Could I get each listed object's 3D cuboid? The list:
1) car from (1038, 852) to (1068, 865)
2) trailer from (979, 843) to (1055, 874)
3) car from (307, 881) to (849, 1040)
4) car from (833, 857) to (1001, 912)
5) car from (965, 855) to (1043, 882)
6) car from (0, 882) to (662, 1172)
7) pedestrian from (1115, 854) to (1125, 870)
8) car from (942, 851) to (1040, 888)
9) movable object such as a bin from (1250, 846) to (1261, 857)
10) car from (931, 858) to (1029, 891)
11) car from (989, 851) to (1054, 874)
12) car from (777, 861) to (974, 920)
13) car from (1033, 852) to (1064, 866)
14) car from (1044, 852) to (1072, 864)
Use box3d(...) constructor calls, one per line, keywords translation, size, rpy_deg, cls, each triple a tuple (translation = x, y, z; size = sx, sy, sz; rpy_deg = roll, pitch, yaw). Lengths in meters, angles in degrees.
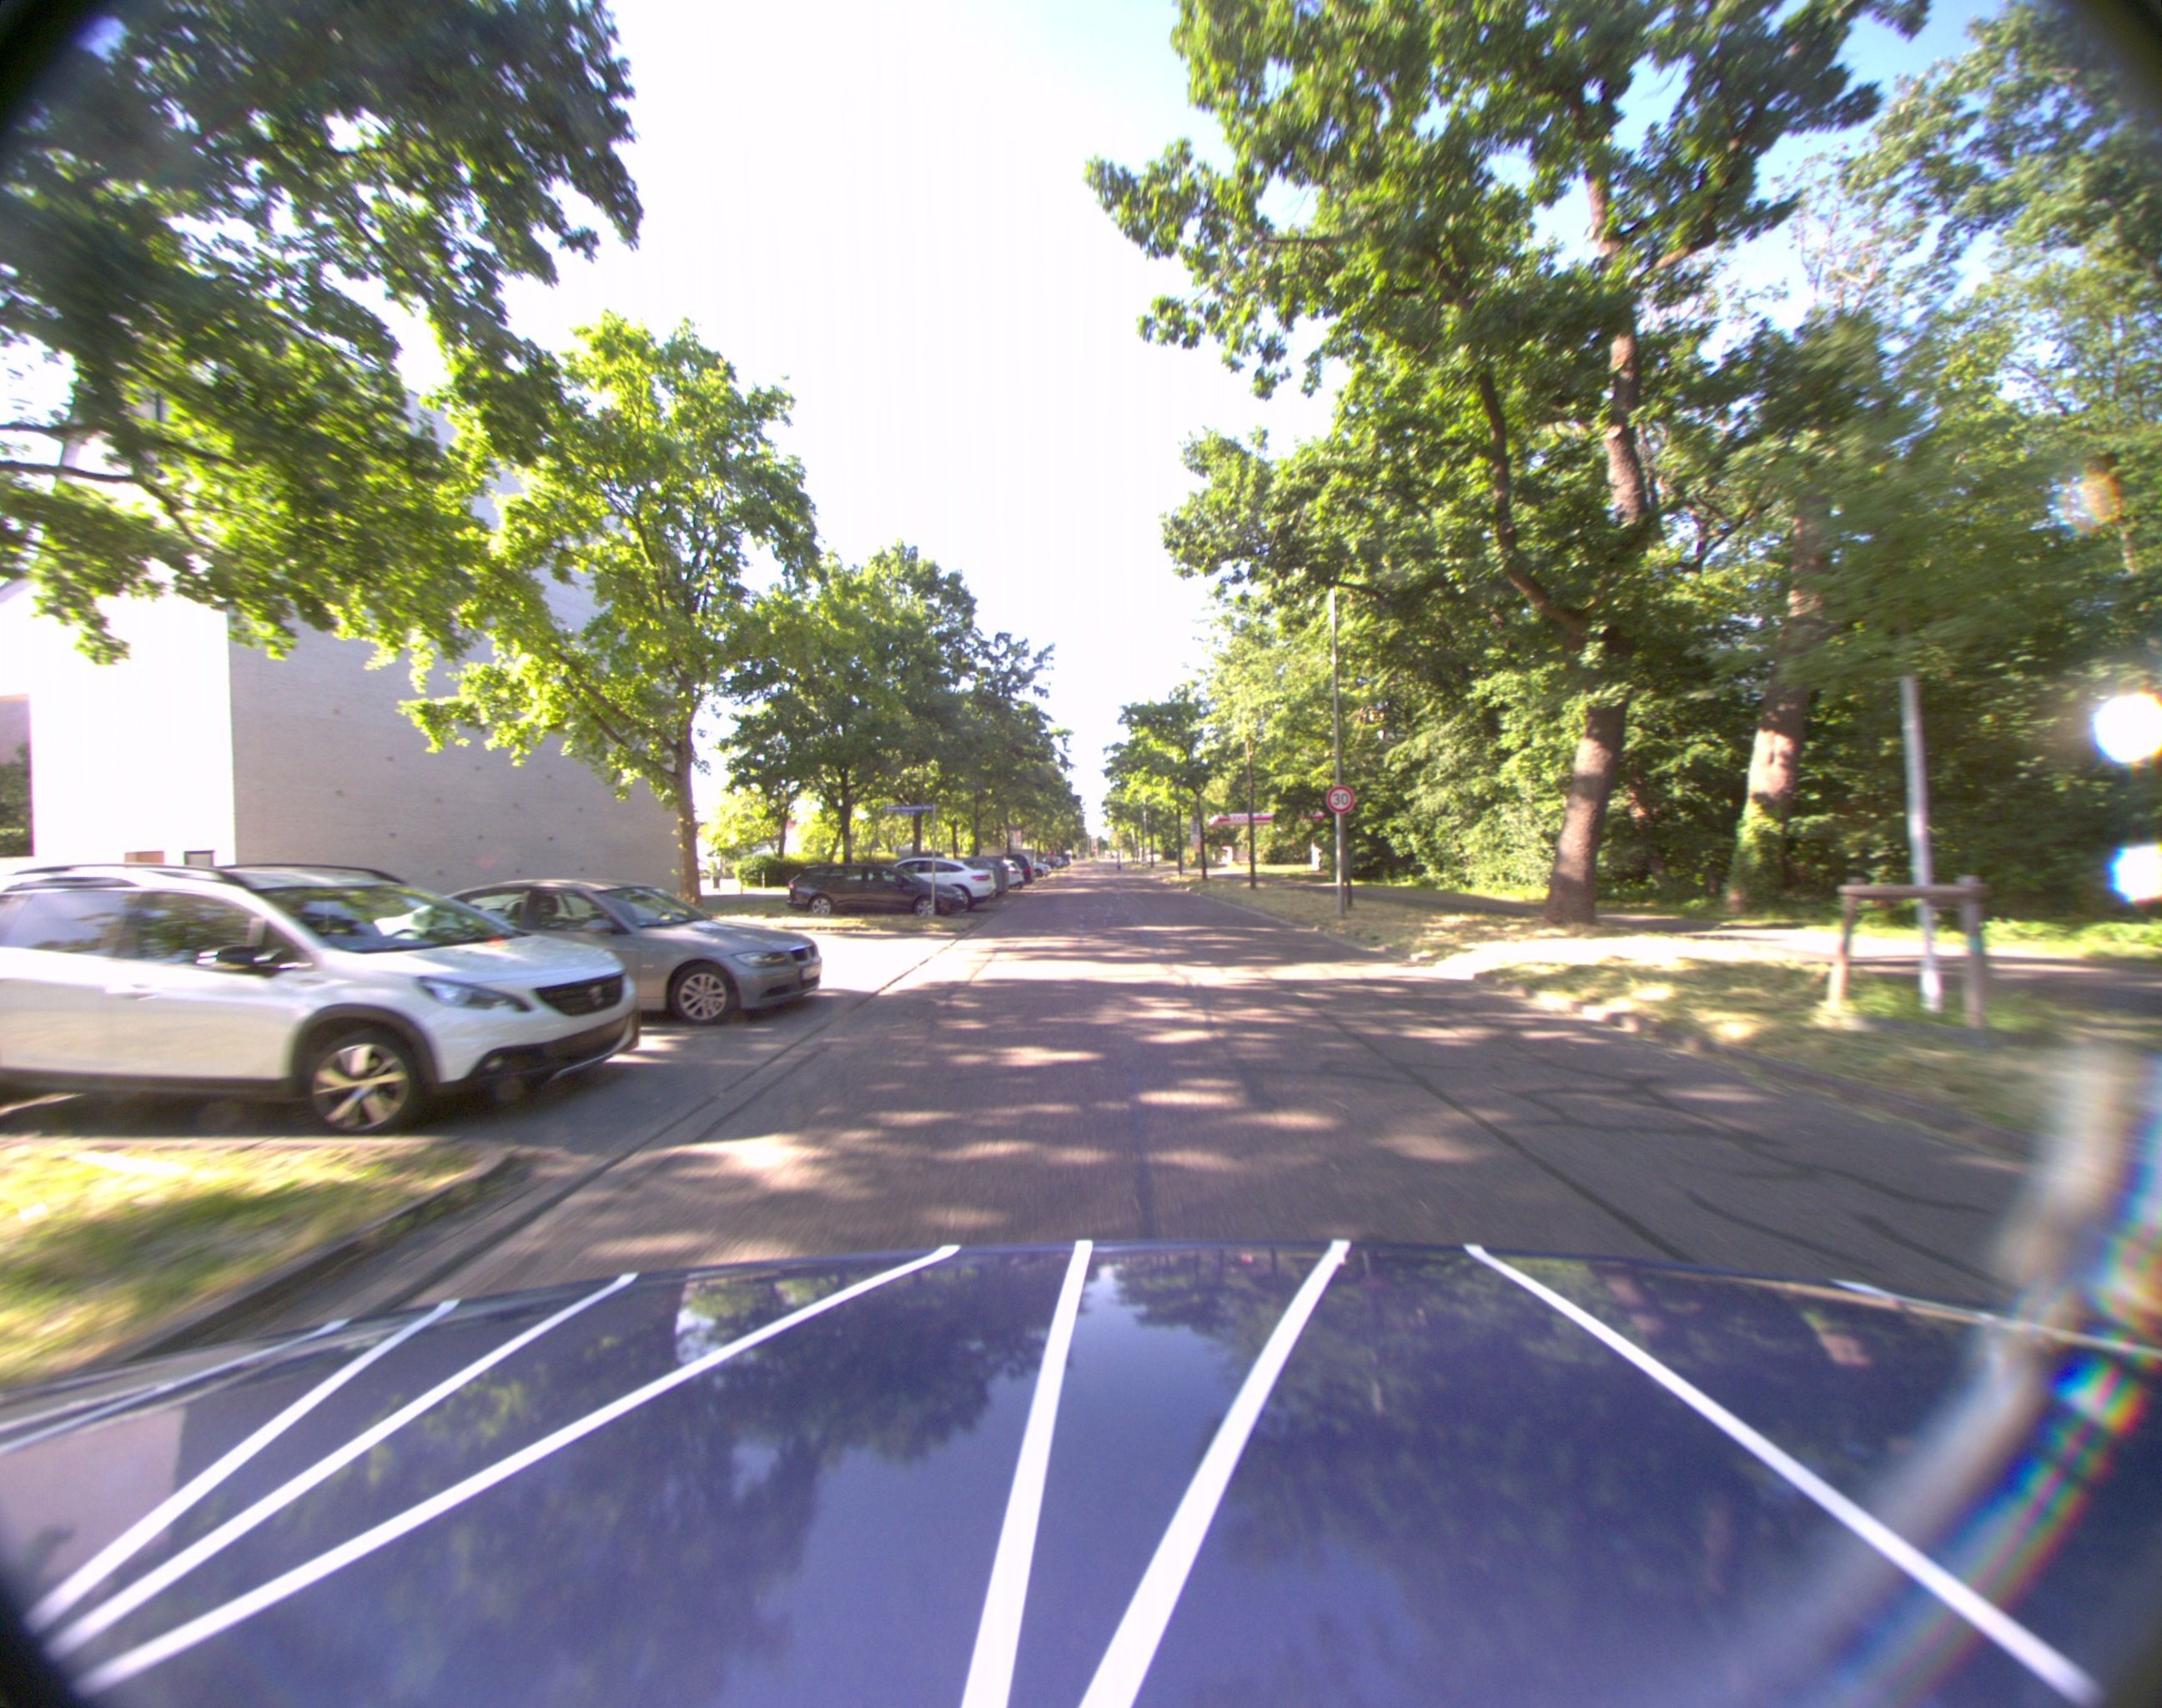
box3d(translation=(-3.470, 0.570, 94.516), size=(3.592, 1.567, 1.786), rpy_deg=(0, 1, 2), cls="car")
box3d(translation=(-5.000, 0.337, 59.851), size=(5.788, 2.304, 1.686), rpy_deg=(1, 1, 3), cls="trailer")
box3d(translation=(-4.999, 1.031, 8.051), size=(4.456, 1.382, 1.911), rpy_deg=(-1, 0, 1), cls="car")
box3d(translation=(-4.896, 0.902, 23.195), size=(4.682, 1.571, 1.917), rpy_deg=(0, 0, 1), cls="car")
box3d(translation=(-4.395, 0.832, 44.100), size=(4.255, 1.510, 2.078), rpy_deg=(0, 0, 2), cls="car")
box3d(translation=(-5.214, 0.977, 5.022), size=(3.895, 1.488, 1.777), rpy_deg=(0, 0, 0), cls="car")
box3d(translation=(3.712, 0.782, 71.749), size=(0.942, 1.491, 0.885), rpy_deg=(0, 0, 2), cls="pedestrian")
box3d(translation=(-4.383, 0.739, 37.529), size=(4.541, 1.791, 1.936), rpy_deg=(0, 1, 1), cls="car")
box3d(translation=(24.716, -0.328, 107.749), size=(1.307, 1.533, 1.268), rpy_deg=(-1, 1, 1), cls="movable object such as a bin")
box3d(translation=(-4.583, 0.935, 34.976), size=(4.231, 1.463, 1.800), rpy_deg=(0, 0, 2), cls="car")
box3d(translation=(-4.405, 0.632, 57.063), size=(4.653, 1.712, 1.987), rpy_deg=(0, 1, 2), cls="car")
box3d(translation=(-5.301, 0.932, 20.102), size=(4.682, 1.447, 1.916), rpy_deg=(0, 0, 0), cls="car")
box3d(translation=(-3.772, 0.588, 89.586), size=(3.592, 1.567, 1.857), rpy_deg=(0, 1, 0), cls="car")
box3d(translation=(-3.016, 0.540, 99.184), size=(3.529, 1.523, 1.665), rpy_deg=(0, 1, 2), cls="car")
